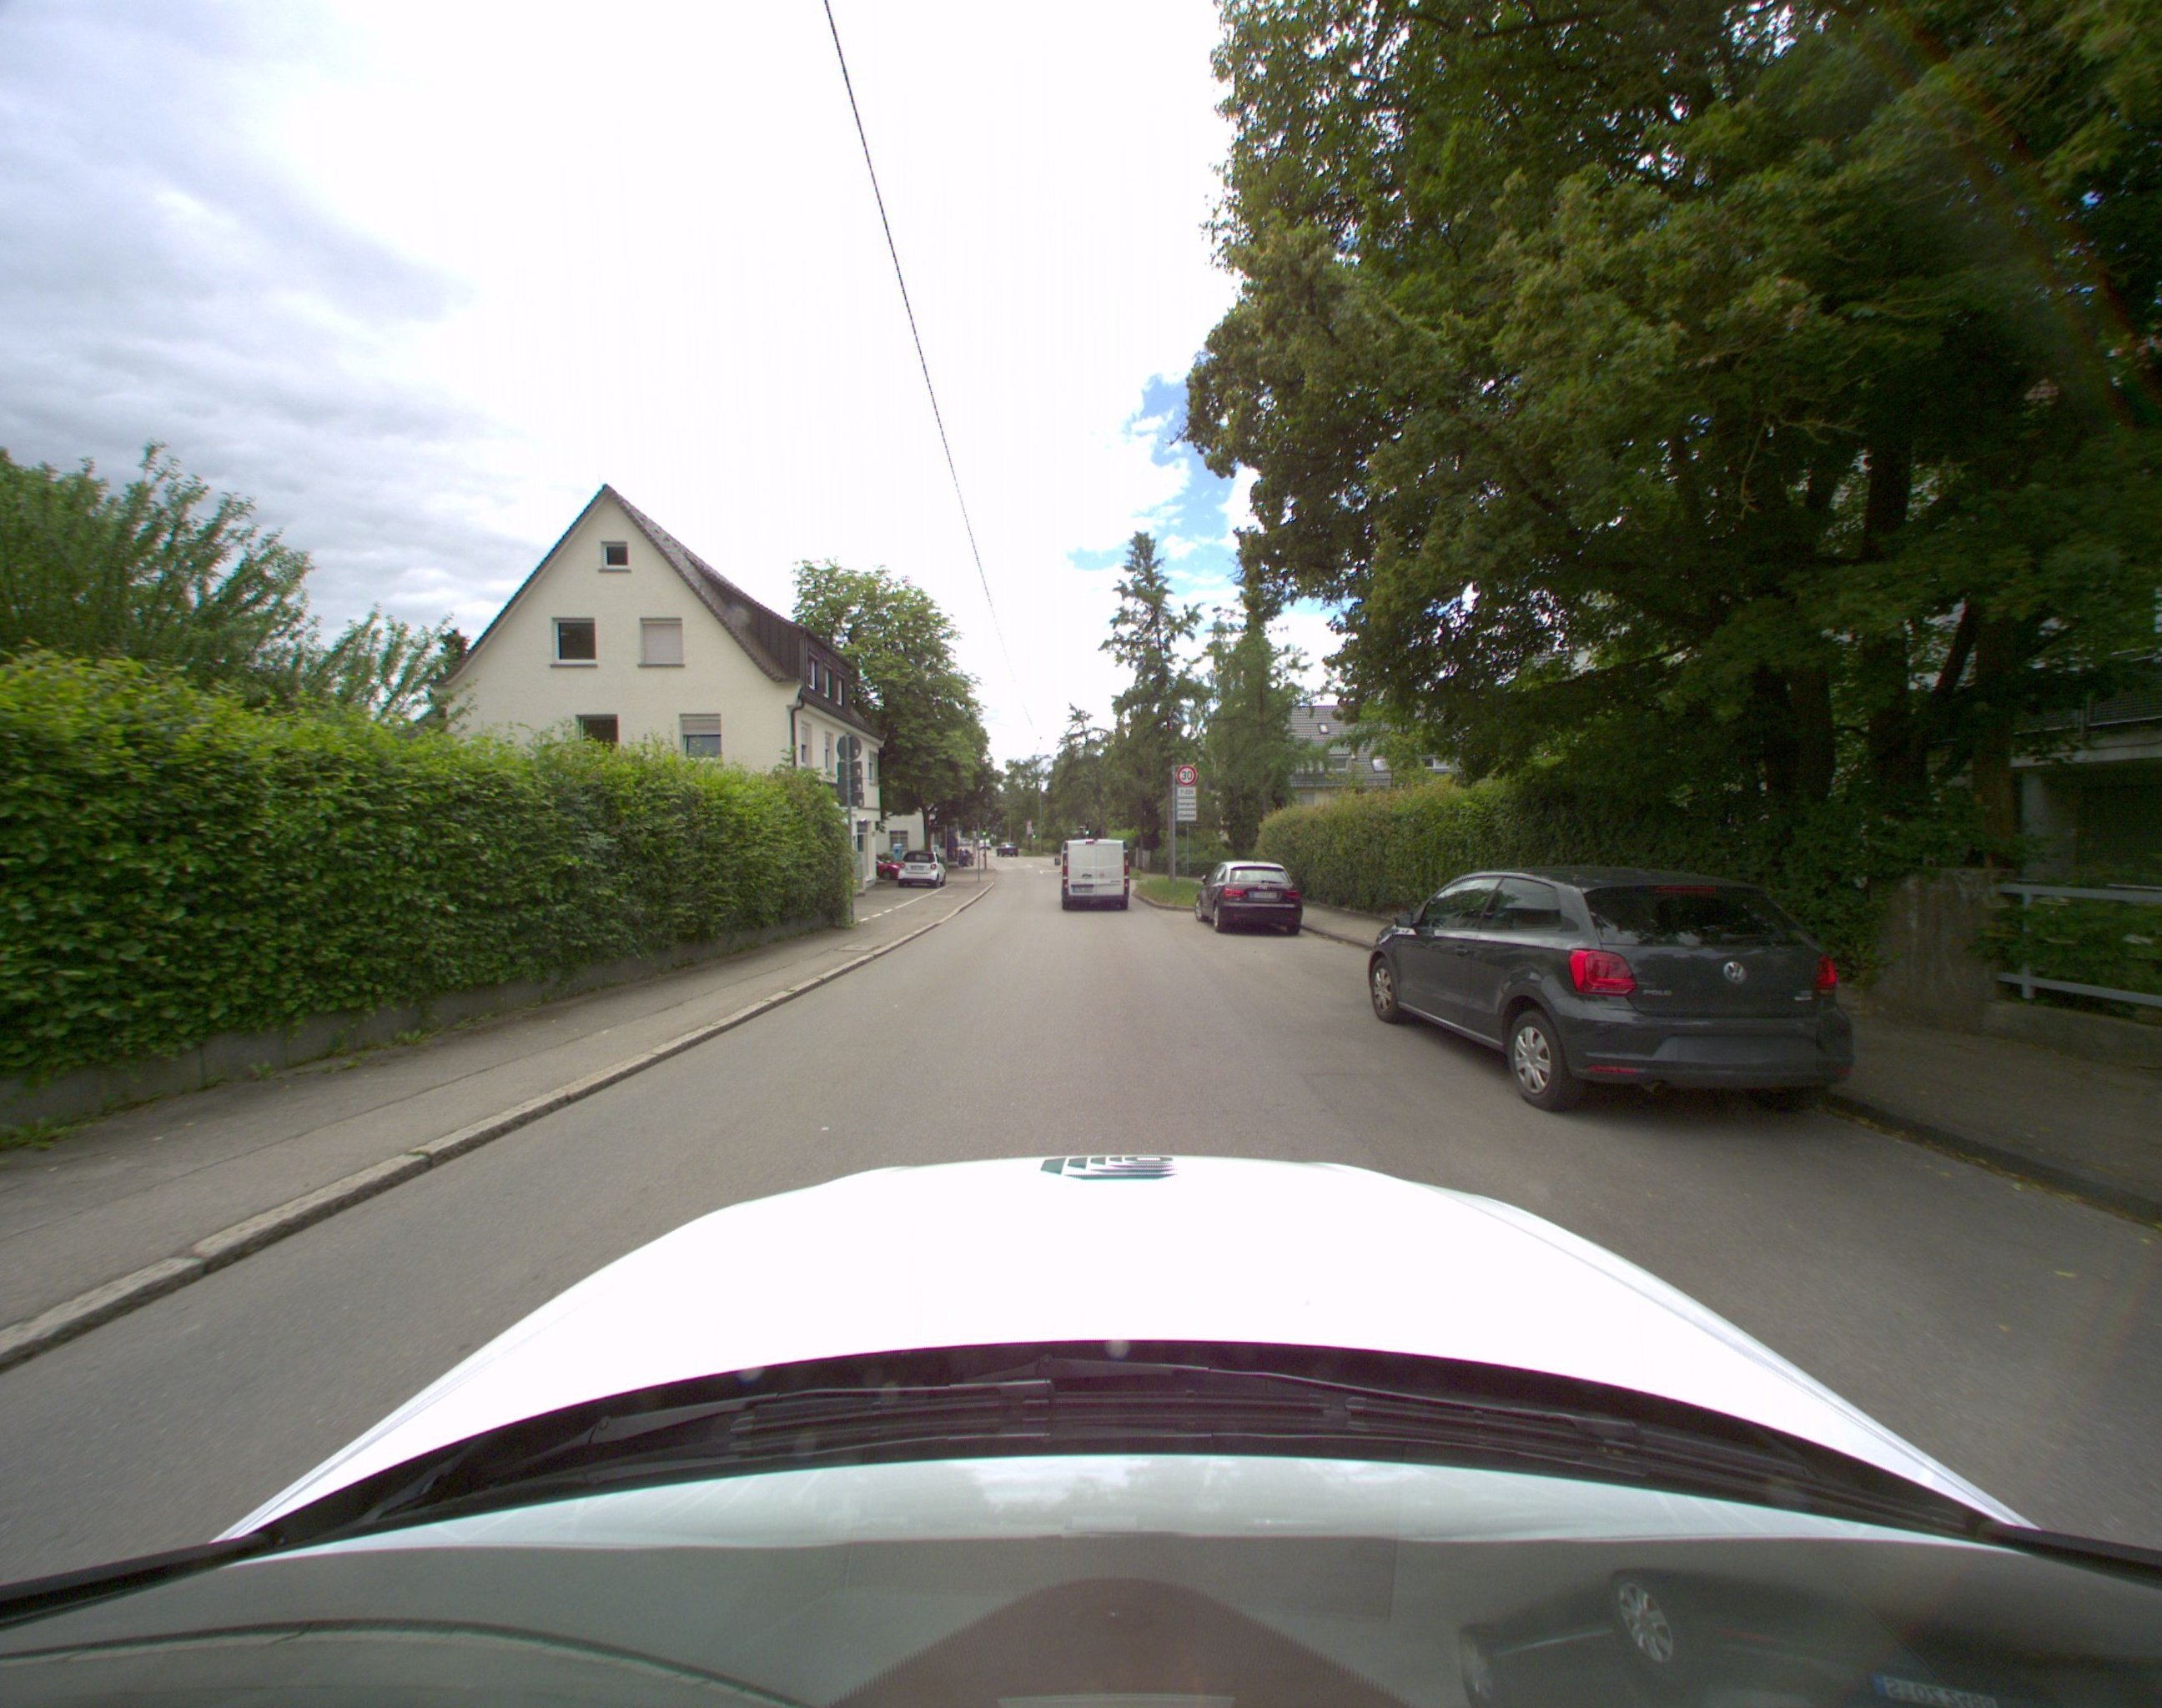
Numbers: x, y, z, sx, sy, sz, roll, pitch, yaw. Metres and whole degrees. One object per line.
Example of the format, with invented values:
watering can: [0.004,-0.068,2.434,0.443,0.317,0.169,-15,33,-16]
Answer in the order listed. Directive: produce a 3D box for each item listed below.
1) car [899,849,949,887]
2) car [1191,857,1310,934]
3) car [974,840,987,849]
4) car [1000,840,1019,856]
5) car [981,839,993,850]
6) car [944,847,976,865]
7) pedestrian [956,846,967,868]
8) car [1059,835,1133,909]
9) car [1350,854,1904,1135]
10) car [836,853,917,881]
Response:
car: [-6.715,0.563,35.129,1.584,1.538,2.922,2,1,-1]
car: [3.494,0.801,17.424,1.704,1.412,3.789,1,0,0]
car: [-19.064,-1.774,154.865,1.896,1.611,4.479,0,1,-14]
car: [-8.431,-0.759,95.712,1.897,1.859,4.390,0,1,-10]
car: [-14.807,-1.553,128.431,1.824,1.728,3.989,0,1,-8]
car: [-9.968,0.158,67.288,1.773,1.441,4.527,1,0,2]
pedestrian: [-8.948,0.241,60.834,0.696,1.616,0.715,0,2,-2]
car: [0.341,0.449,23.996,1.925,1.964,4.398,0,1,-3]
car: [3.540,0.746,6.233,1.704,1.487,3.789,0,0,0]
car: [-11.638,0.745,46.380,4.182,1.432,1.827,0,3,24]
